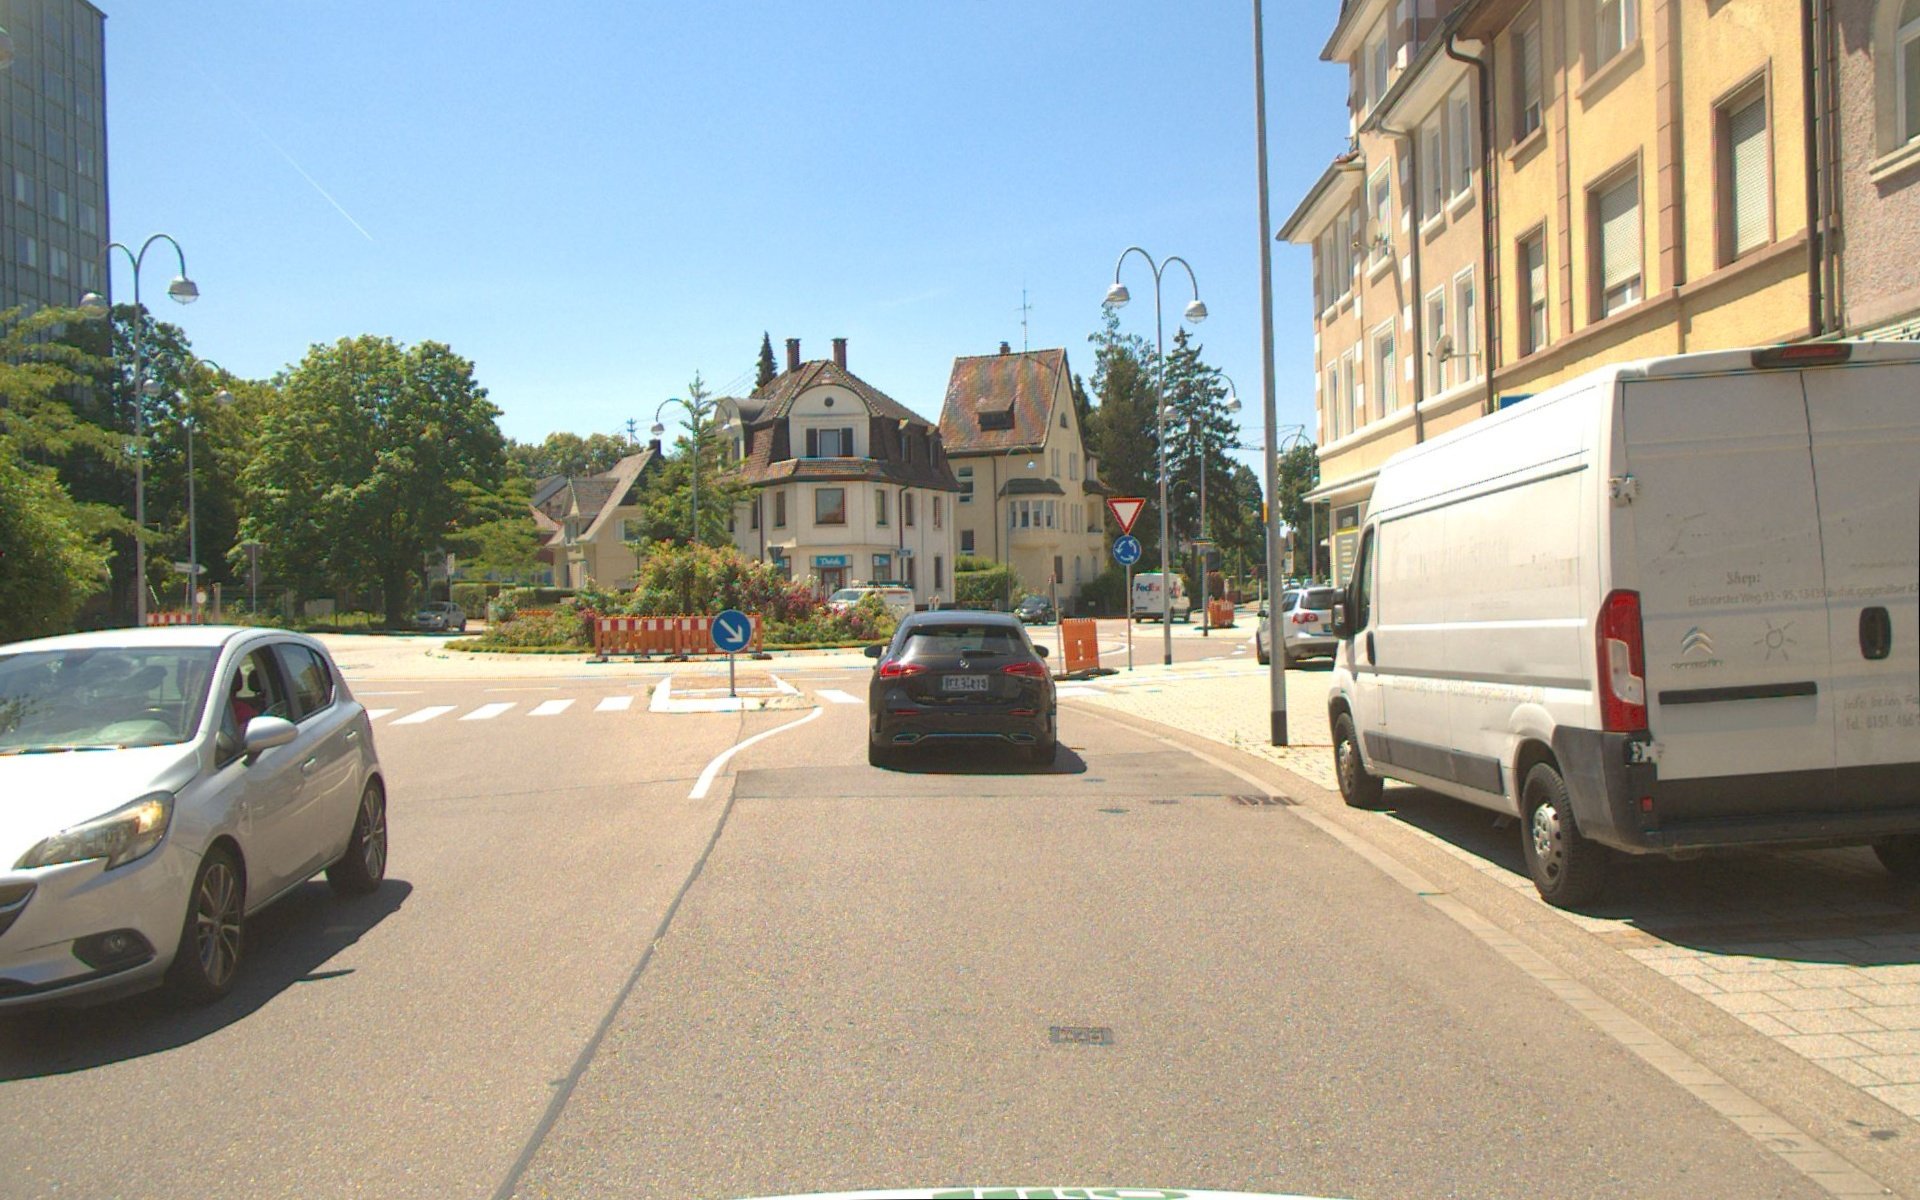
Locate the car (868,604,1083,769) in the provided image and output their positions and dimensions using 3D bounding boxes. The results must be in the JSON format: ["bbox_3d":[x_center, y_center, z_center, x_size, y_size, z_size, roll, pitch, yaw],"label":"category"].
[{"bbox_3d":[0.075,0.792,16.701,1.914,1.452,3.998,0,-1,-2],"label":"car"}]

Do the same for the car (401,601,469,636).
[{"bbox_3d":[-26.534,0.954,83.711,1.747,1.625,3.923,-1,-3,7],"label":"car"}]

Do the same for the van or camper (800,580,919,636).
[{"bbox_3d":[-4.079,0.342,67.867,1.960,2.210,5.393,-1,-1,35],"label":"van or camper"}]

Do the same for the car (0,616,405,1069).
[{"bbox_3d":[-3.813,0.865,7.496,1.627,1.523,3.754,-2,0,-6],"label":"car"}]

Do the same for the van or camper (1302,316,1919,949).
[{"bbox_3d":[3.801,0.125,9.920,2.121,2.634,5.764,-2,0,-1],"label":"van or camper"}]

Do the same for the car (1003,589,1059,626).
[{"bbox_3d":[3.598,0.350,83.435,1.880,1.803,4.002,1,0,17],"label":"car"}]

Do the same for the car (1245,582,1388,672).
[{"bbox_3d":[6.835,0.493,32.153,1.728,1.556,4.690,-2,0,0],"label":"car"}]

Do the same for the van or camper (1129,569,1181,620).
[{"bbox_3d":[10.463,-0.311,88.611,2.159,2.656,4.003,-1,0,16],"label":"van or camper"}]
